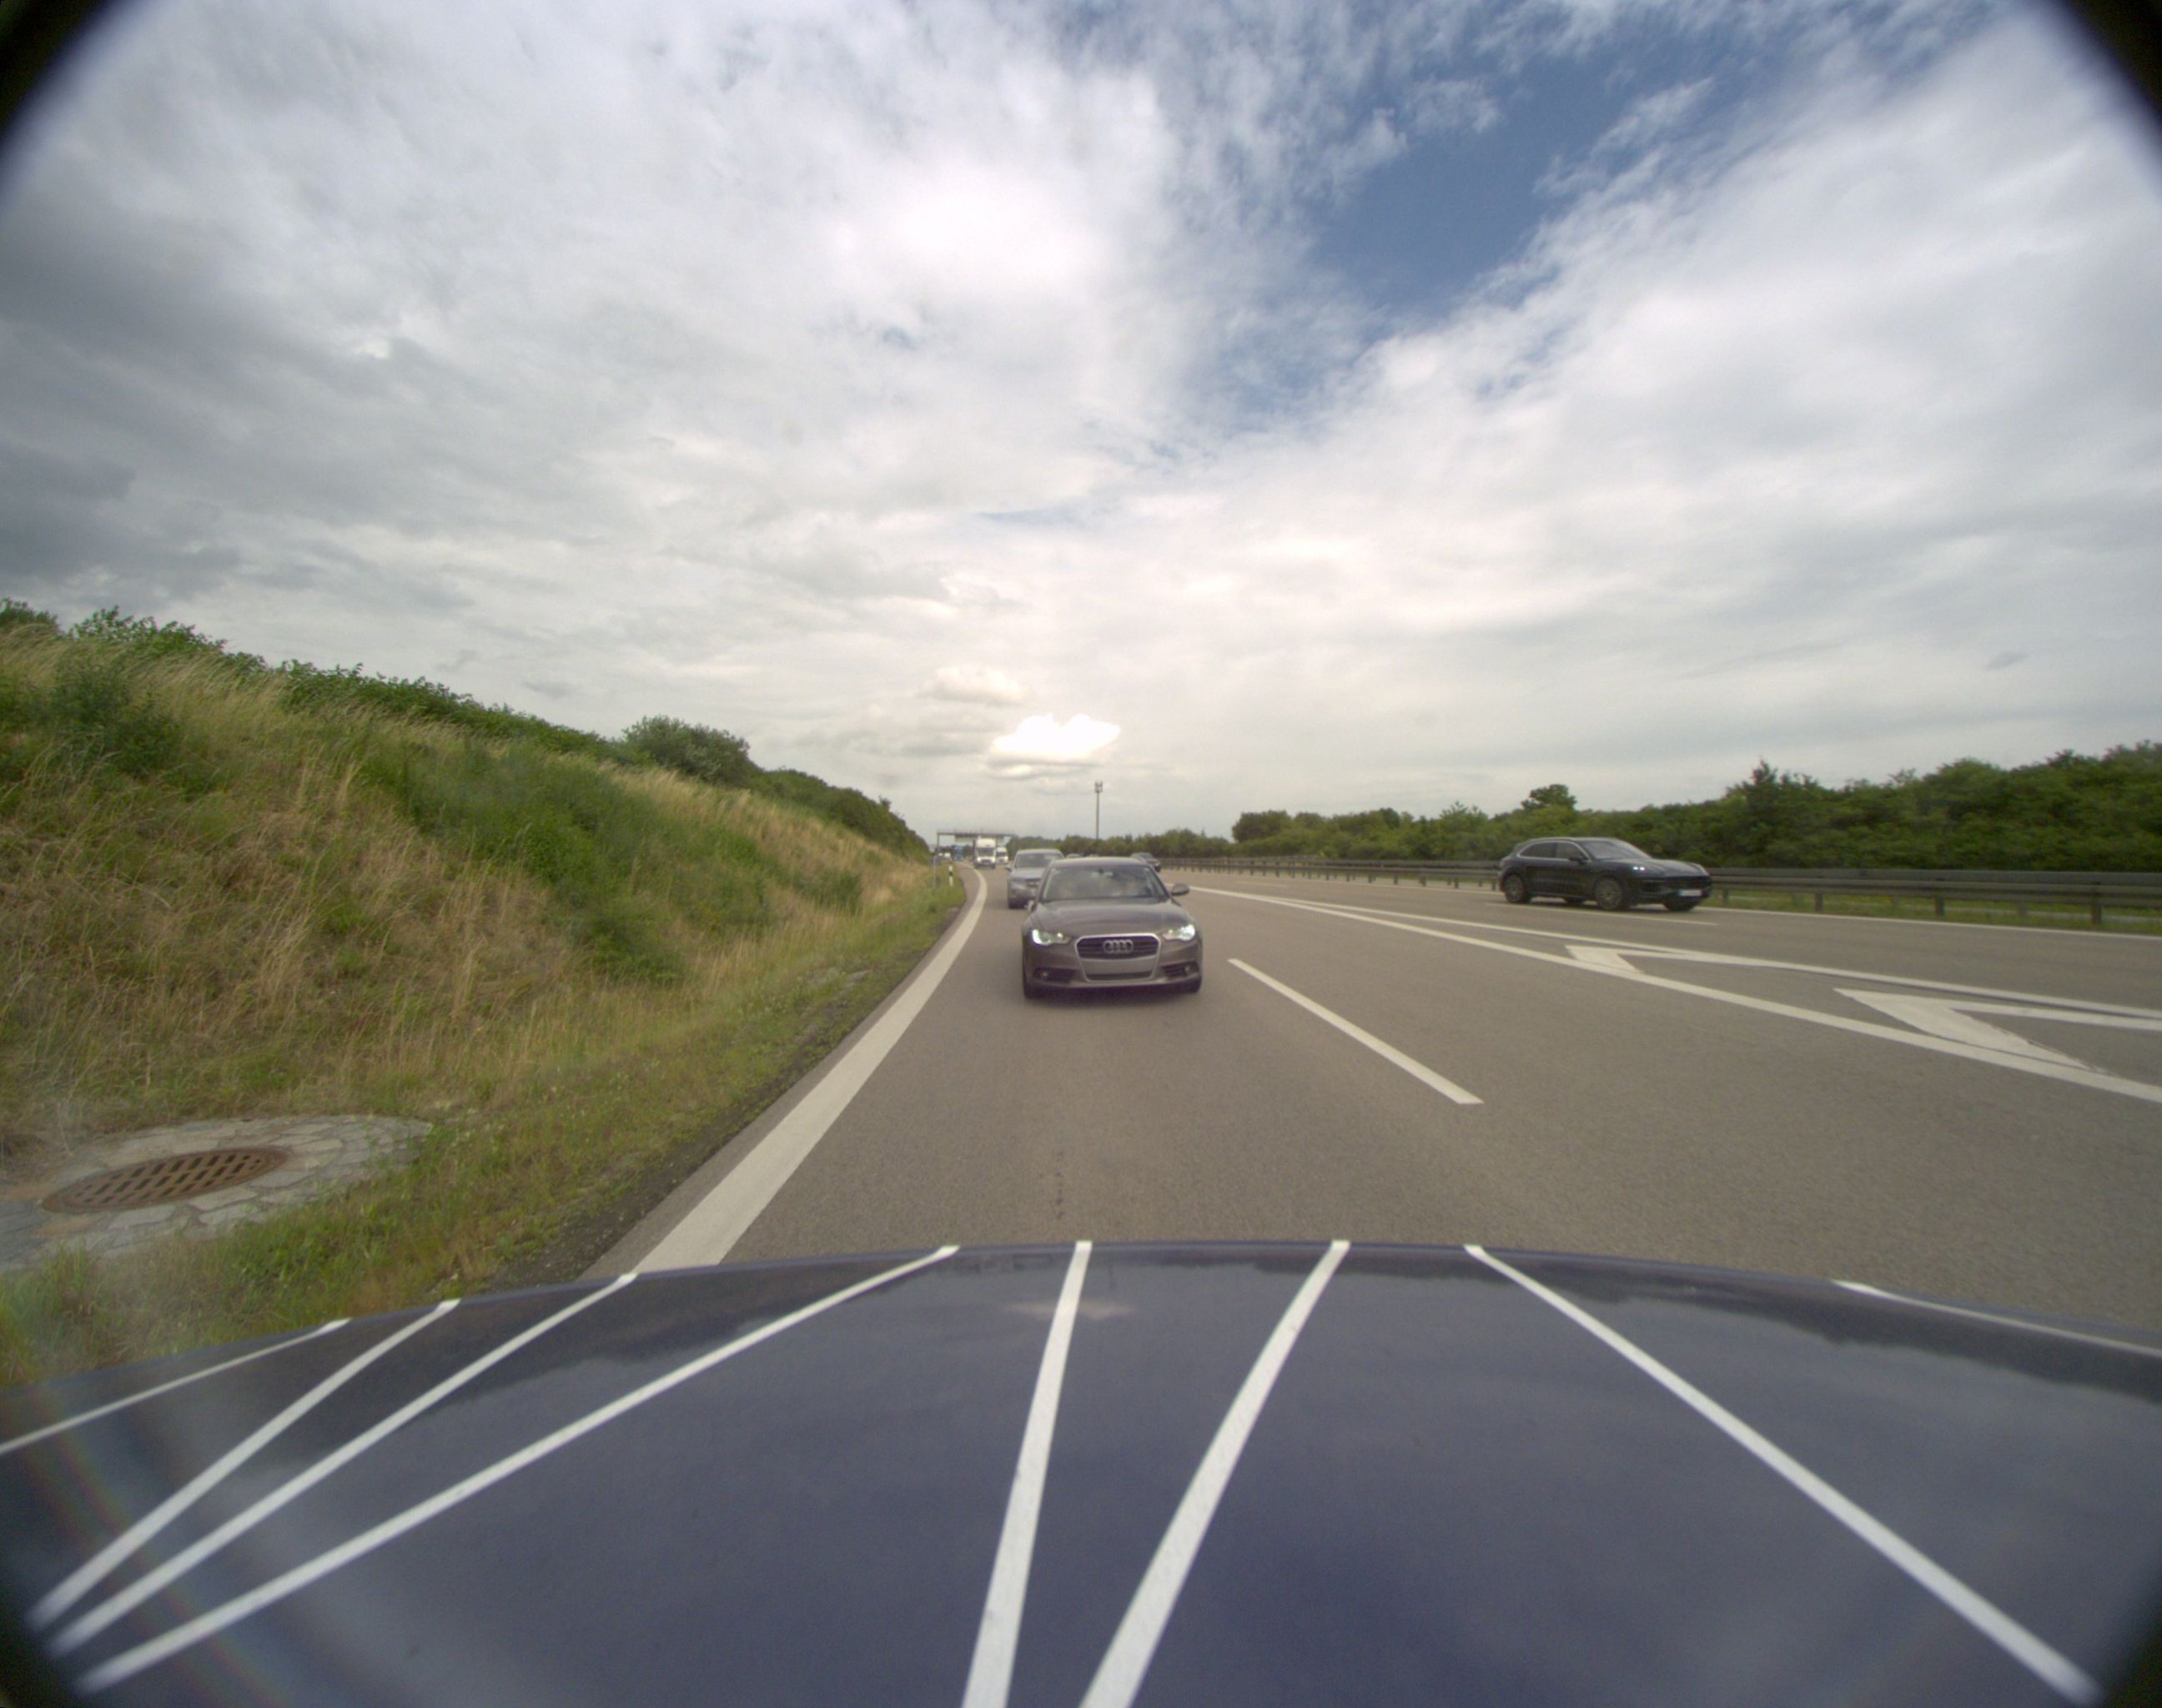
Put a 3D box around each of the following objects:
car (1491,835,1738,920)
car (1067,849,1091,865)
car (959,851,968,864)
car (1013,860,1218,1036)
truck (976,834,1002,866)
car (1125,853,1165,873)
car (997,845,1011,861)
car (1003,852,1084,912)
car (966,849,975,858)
[{"bbox_3d":[12.290,0.474,18.006,2.000,1.733,4.825,0,0,-9],"label":"car"},{"bbox_3d":[-0.254,0.246,73.425,1.723,1.510,3.996,0,0,-9],"label":"car"},{"bbox_3d":[-34.296,0.978,221.889,2.506,3.689,7.694,0,0,-10],"label":"car"},{"bbox_3d":[0.202,0.866,8.935,1.849,1.489,4.027,-1,1,-3],"label":"car"},{"bbox_3d":[-9.962,-0.425,81.619,2.450,3.217,7.185,-1,0,-9],"label":"truck"},{"bbox_3d":[4.999,0.701,60.212,2.000,1.501,4.774,0,0,-11],"label":"car"},{"bbox_3d":[-11.770,-0.169,116.228,2.000,2.381,3.997,-2,1,-7],"label":"car"},{"bbox_3d":[-1.192,0.728,22.138,2.000,1.567,3.997,-1,0,-8],"label":"car"},{"bbox_3d":[-27.381,-0.114,187.989,2.000,2.002,3.996,0,0,-10],"label":"car"}]
